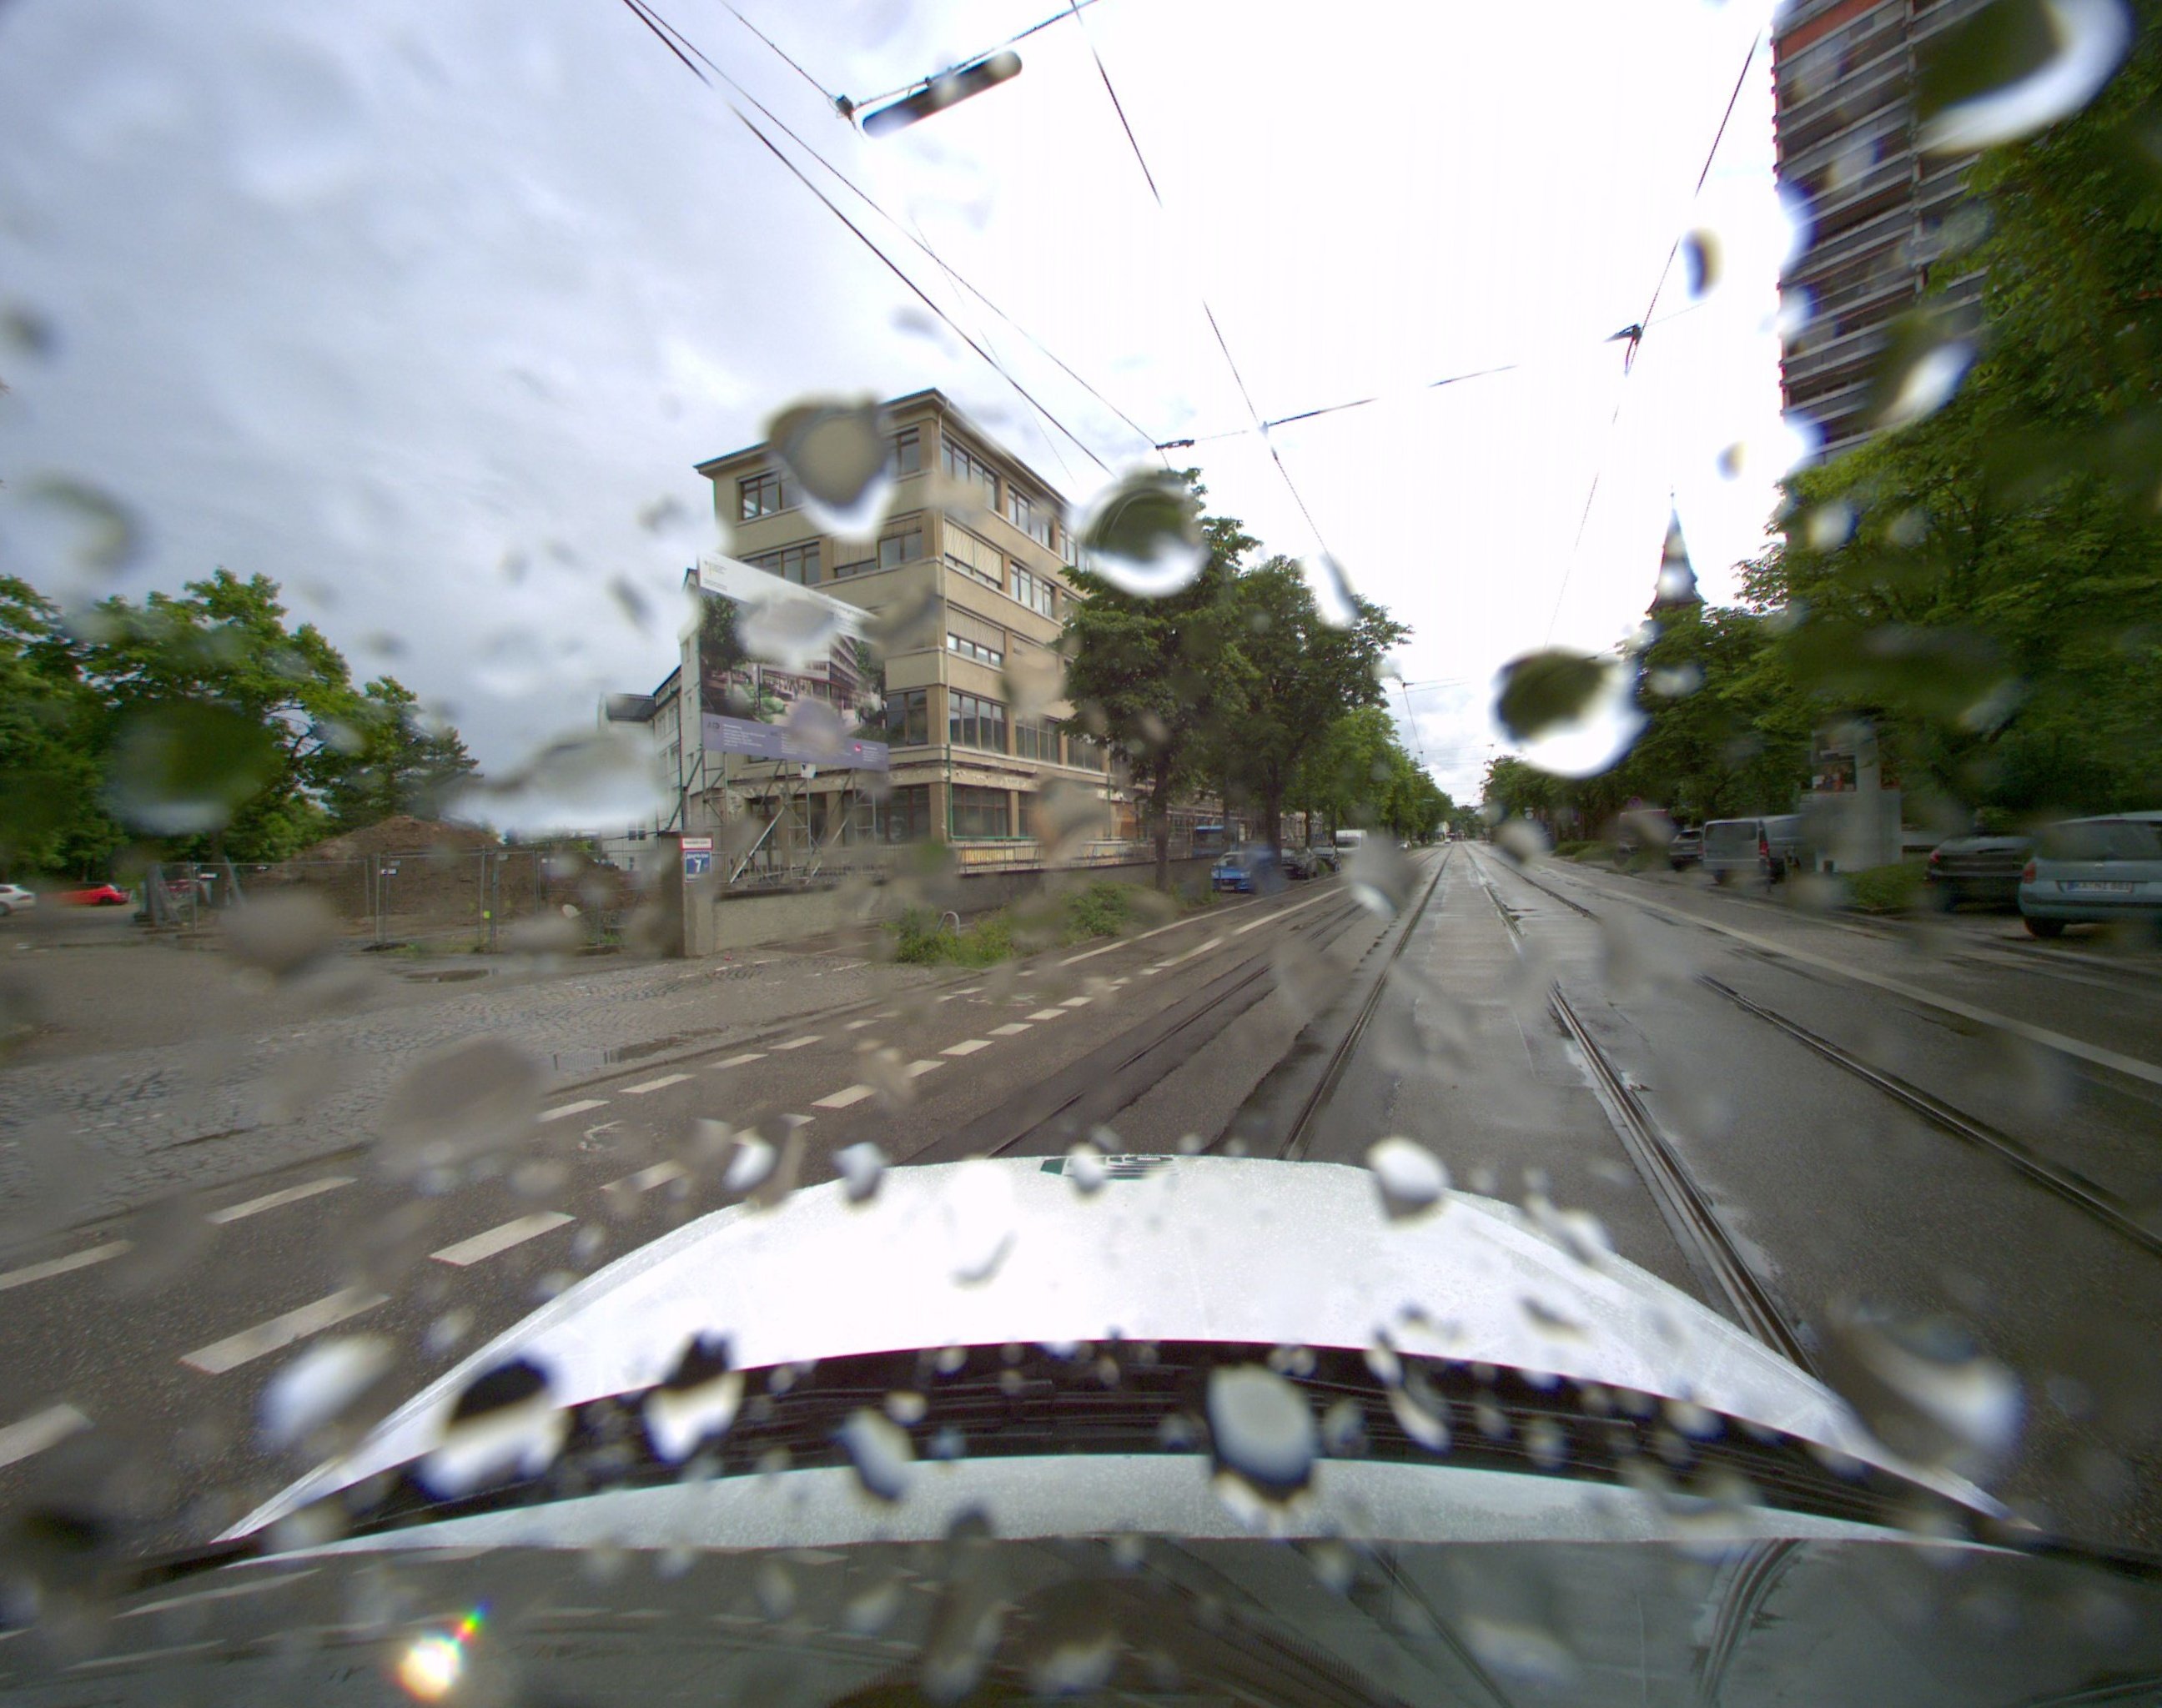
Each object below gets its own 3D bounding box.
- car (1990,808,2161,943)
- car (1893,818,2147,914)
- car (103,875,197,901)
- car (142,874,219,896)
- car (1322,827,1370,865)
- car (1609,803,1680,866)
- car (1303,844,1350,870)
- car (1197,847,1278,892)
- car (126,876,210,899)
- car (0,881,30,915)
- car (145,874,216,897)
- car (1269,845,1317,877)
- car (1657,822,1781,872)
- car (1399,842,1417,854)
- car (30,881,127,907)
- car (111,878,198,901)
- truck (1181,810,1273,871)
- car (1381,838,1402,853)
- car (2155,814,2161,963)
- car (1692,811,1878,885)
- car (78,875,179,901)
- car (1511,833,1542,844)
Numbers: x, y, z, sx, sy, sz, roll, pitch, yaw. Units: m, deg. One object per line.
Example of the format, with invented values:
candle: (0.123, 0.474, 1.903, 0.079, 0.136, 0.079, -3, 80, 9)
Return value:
car: (13.937, 0.189, 10.490, 3.649, 1.551, 1.697, -2, 0, -19)
car: (16.057, 0.161, 13.941, 3.652, 1.397, 1.756, -2, 0, -22)
car: (-65.267, 2.349, 57.188, 4.144, 1.650, 1.824, 0, 0, -43)
car: (-72.000, 2.445, 65.201, 3.890, 1.573, 1.935, 0, 0, -42)
car: (18.293, -0.519, 55.939, 2.565, 2.474, 6.187, 0, 0, 23)
car: (25.769, -0.908, 37.124, 2.272, 2.633, 5.518, 0, 1, 39)
car: (14.505, 0.146, 47.997, 1.795, 1.470, 4.097, 0, 1, 30)
car: (5.624, 0.510, 28.870, 1.867, 1.470, 4.023, 0, 0, 26)
car: (-68.620, 2.505, 61.286, 4.021, 1.560, 1.743, 0, 0, -41)
car: (-50.409, 2.044, 36.800, 1.718, 1.468, 3.465, 0, 1, 40)
car: (-70.313, 2.464, 63.647, 3.620, 1.620, 1.846, 0, 0, -45)
car: (10.130, 0.312, 38.763, 1.868, 1.470, 4.020, 0, 0, 20)
car: (23.564, -0.278, 30.086, 4.049, 1.565, 1.773, -4, 1, -21)
car: (42.924, -0.774, 106.754, 1.841, 1.638, 4.024, 0, 0, 27)
car: (-59.665, 2.365, 48.544, 3.308, 1.425, 1.575, 0, 0, -35)
car: (-67.088, 2.527, 59.059, 3.976, 1.517, 1.784, 0, 0, -42)
truck: (9.555, -0.808, 52.175, 3.202, 3.527, 9.968, 0, 0, 26)
car: (36.601, -0.950, 95.900, 1.841, 1.742, 4.024, 0, 0, 27)
car: (12.671, 0.279, 7.899, 3.650, 1.469, 1.730, -2, 0, -20)
car: (20.048, -0.197, 23.210, 4.644, 1.896, 1.926, -2, 1, -19)
car: (-63.278, 2.228, 54.198, 4.019, 1.496, 1.971, 0, 0, -38)
car: (68.720, -2.386, 125.616, 4.242, 1.651, 2.012, 0, 0, 30)
